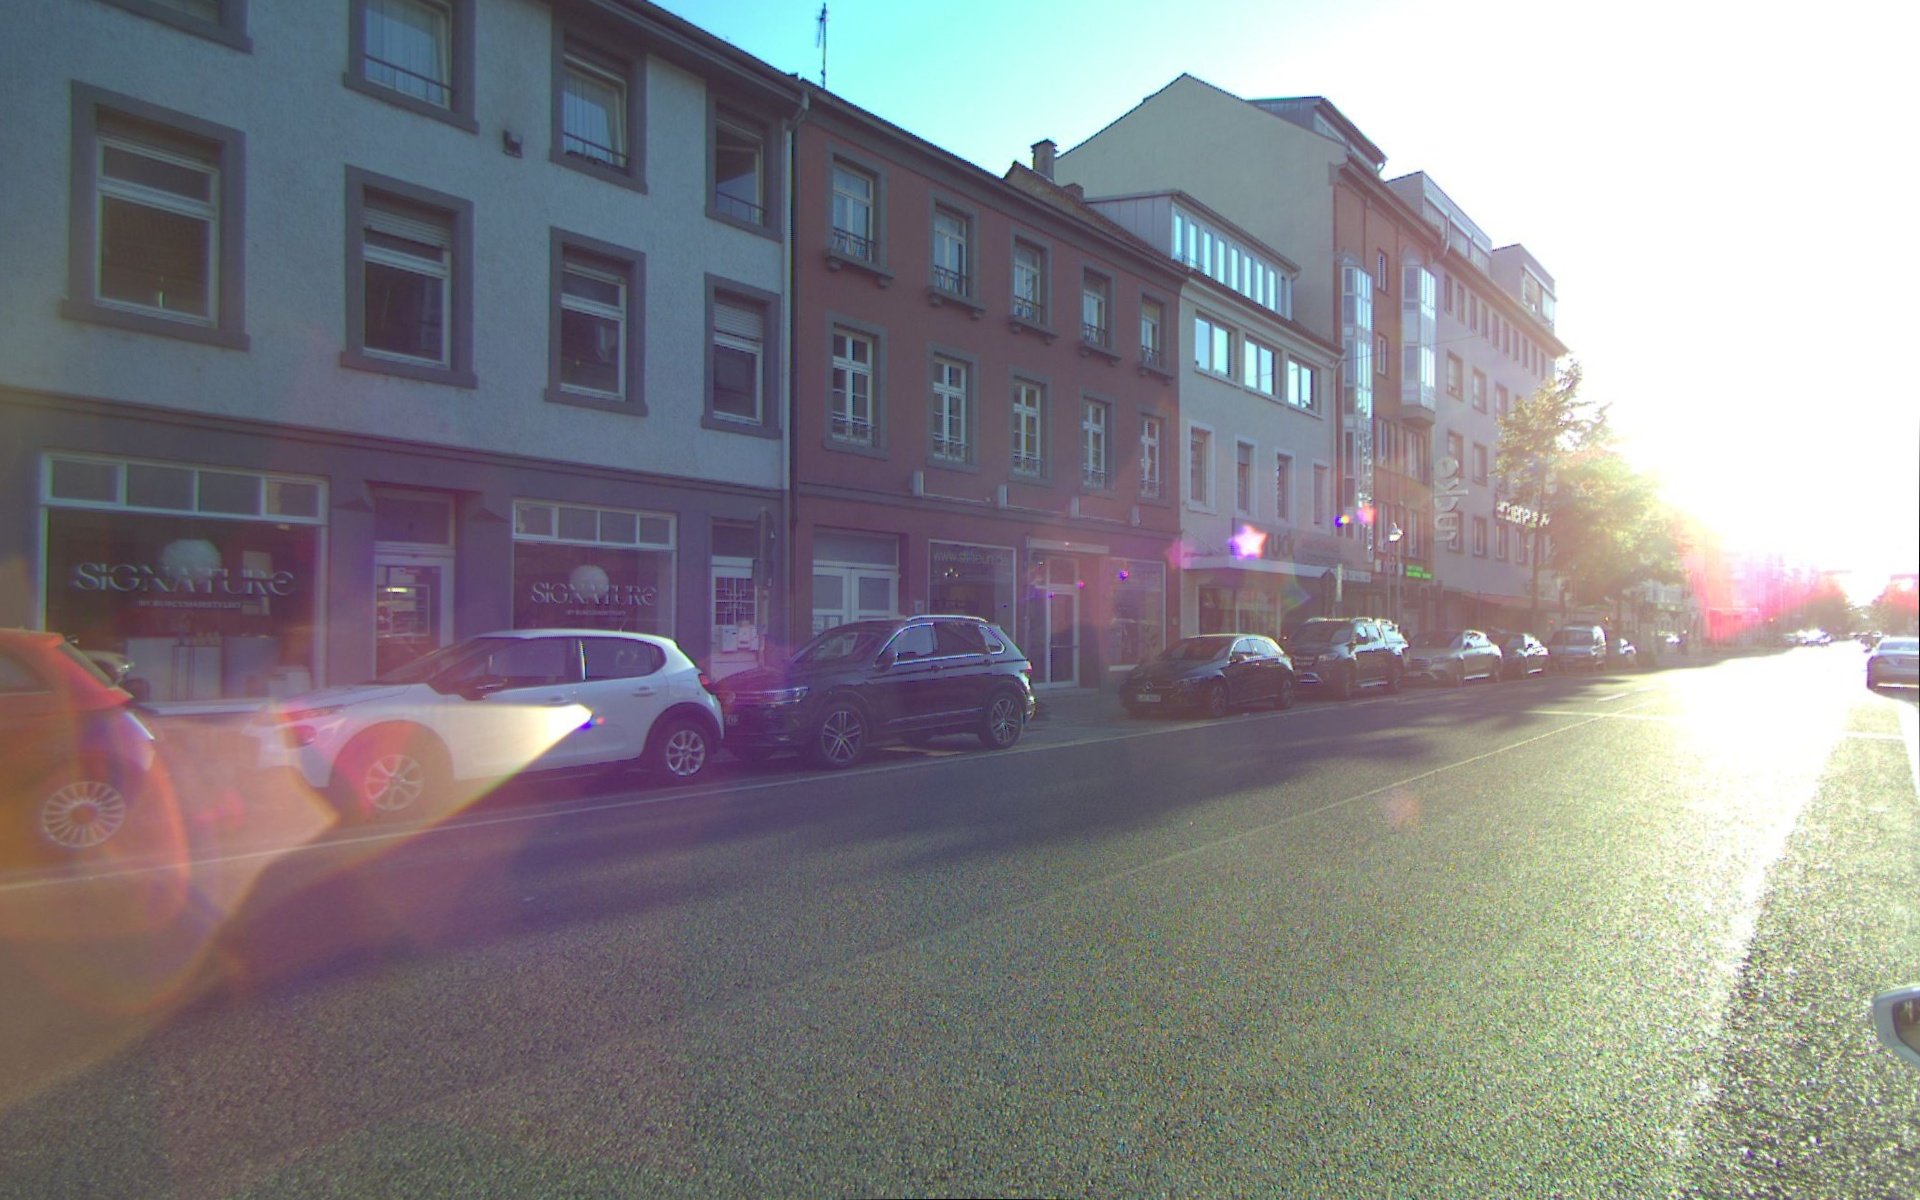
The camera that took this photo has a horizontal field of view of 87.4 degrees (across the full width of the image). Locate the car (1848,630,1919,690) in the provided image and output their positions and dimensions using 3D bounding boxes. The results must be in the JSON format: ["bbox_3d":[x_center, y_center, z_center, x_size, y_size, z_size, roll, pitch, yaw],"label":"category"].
[{"bbox_3d":[26.163,1.634,28.216,1.672,1.523,3.764,2,0,44],"label":"car"}]

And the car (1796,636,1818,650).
[{"bbox_3d":[92.688,4.689,109.920,1.672,1.522,3.764,-1,-2,44],"label":"car"}]

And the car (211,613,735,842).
[{"bbox_3d":[-4.136,0.963,9.004,1.644,1.594,3.912,-3,-3,43],"label":"car"}]

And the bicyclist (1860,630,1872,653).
[{"bbox_3d":[63.167,2.911,70.058,0.798,1.601,0.541,1,-2,-45],"label":"bicyclist"}]

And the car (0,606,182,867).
[{"bbox_3d":[-6.970,0.842,6.075,1.510,1.590,3.401,-3,-3,44],"label":"car"}]

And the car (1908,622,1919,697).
[{"bbox_3d":[24.255,1.424,22.683,4.241,1.720,1.877,1,0,-8],"label":"car"}]

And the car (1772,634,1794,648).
[{"bbox_3d":[91.269,4.517,111.367,1.672,1.522,3.764,-1,-2,44],"label":"car"}]

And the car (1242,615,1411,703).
[{"bbox_3d":[8.619,1.302,23.308,1.970,1.800,5.293,-2,-3,40],"label":"car"}]

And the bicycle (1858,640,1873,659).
[{"bbox_3d":[63.157,3.415,70.076,2.116,1.259,0.656,2,0,-45],"label":"bicycle"}]

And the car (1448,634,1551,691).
[{"bbox_3d":[17.474,1.940,32.460,1.971,1.677,4.457,-1,-2,41],"label":"car"}]

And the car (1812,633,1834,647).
[{"bbox_3d":[98.618,4.594,114.786,1.672,1.522,3.764,-1,-2,44],"label":"car"}]

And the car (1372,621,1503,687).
[{"bbox_3d":[13.292,1.452,27.800,1.972,1.677,4.601,-3,-3,43],"label":"car"}]

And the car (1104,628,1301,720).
[{"bbox_3d":[4.606,1.311,18.636,1.666,1.507,4.388,-5,-4,41],"label":"car"}]

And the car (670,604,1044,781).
[{"bbox_3d":[-1.041,0.992,12.045,1.774,1.720,4.437,-4,-4,41],"label":"car"}]

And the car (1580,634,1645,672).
[{"bbox_3d":[28.255,2.247,43.463,1.672,1.522,3.764,-1,-2,44],"label":"car"}]

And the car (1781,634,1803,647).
[{"bbox_3d":[97.025,4.697,117.099,1.672,1.522,3.764,-1,-2,44],"label":"car"}]

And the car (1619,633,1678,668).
[{"bbox_3d":[31.982,2.325,46.599,1.672,1.522,3.764,-1,-2,44],"label":"car"}]

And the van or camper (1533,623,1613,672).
[{"bbox_3d":[24.061,1.820,39.377,1.769,1.797,4.530,-1,-2,44],"label":"van or camper"}]
